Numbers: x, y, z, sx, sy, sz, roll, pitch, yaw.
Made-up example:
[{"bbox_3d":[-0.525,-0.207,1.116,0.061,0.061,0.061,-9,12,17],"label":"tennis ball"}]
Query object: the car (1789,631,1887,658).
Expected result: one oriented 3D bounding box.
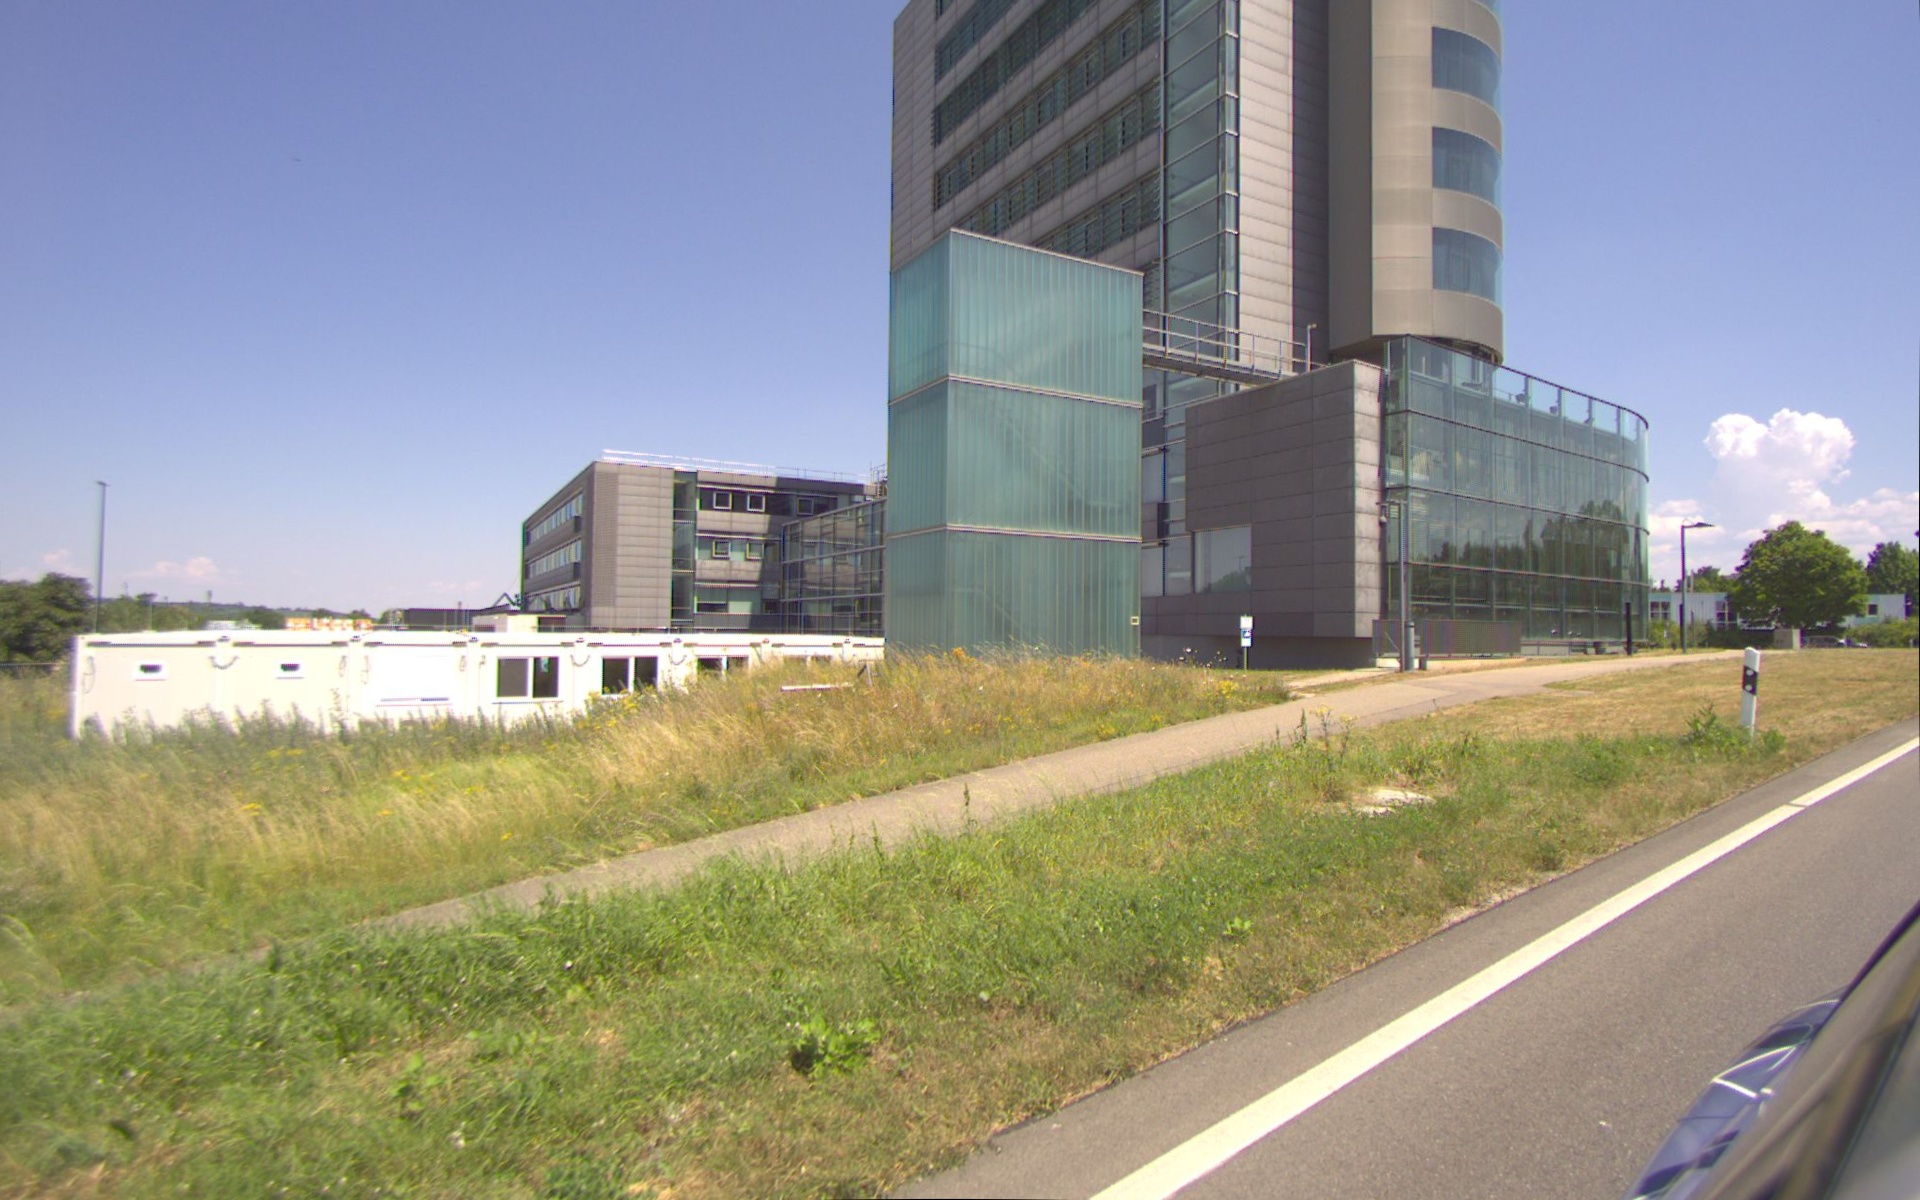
[{"bbox_3d":[53.791,2.747,62.123,4.327,1.620,1.912,-2,-4,37],"label":"car"}]
